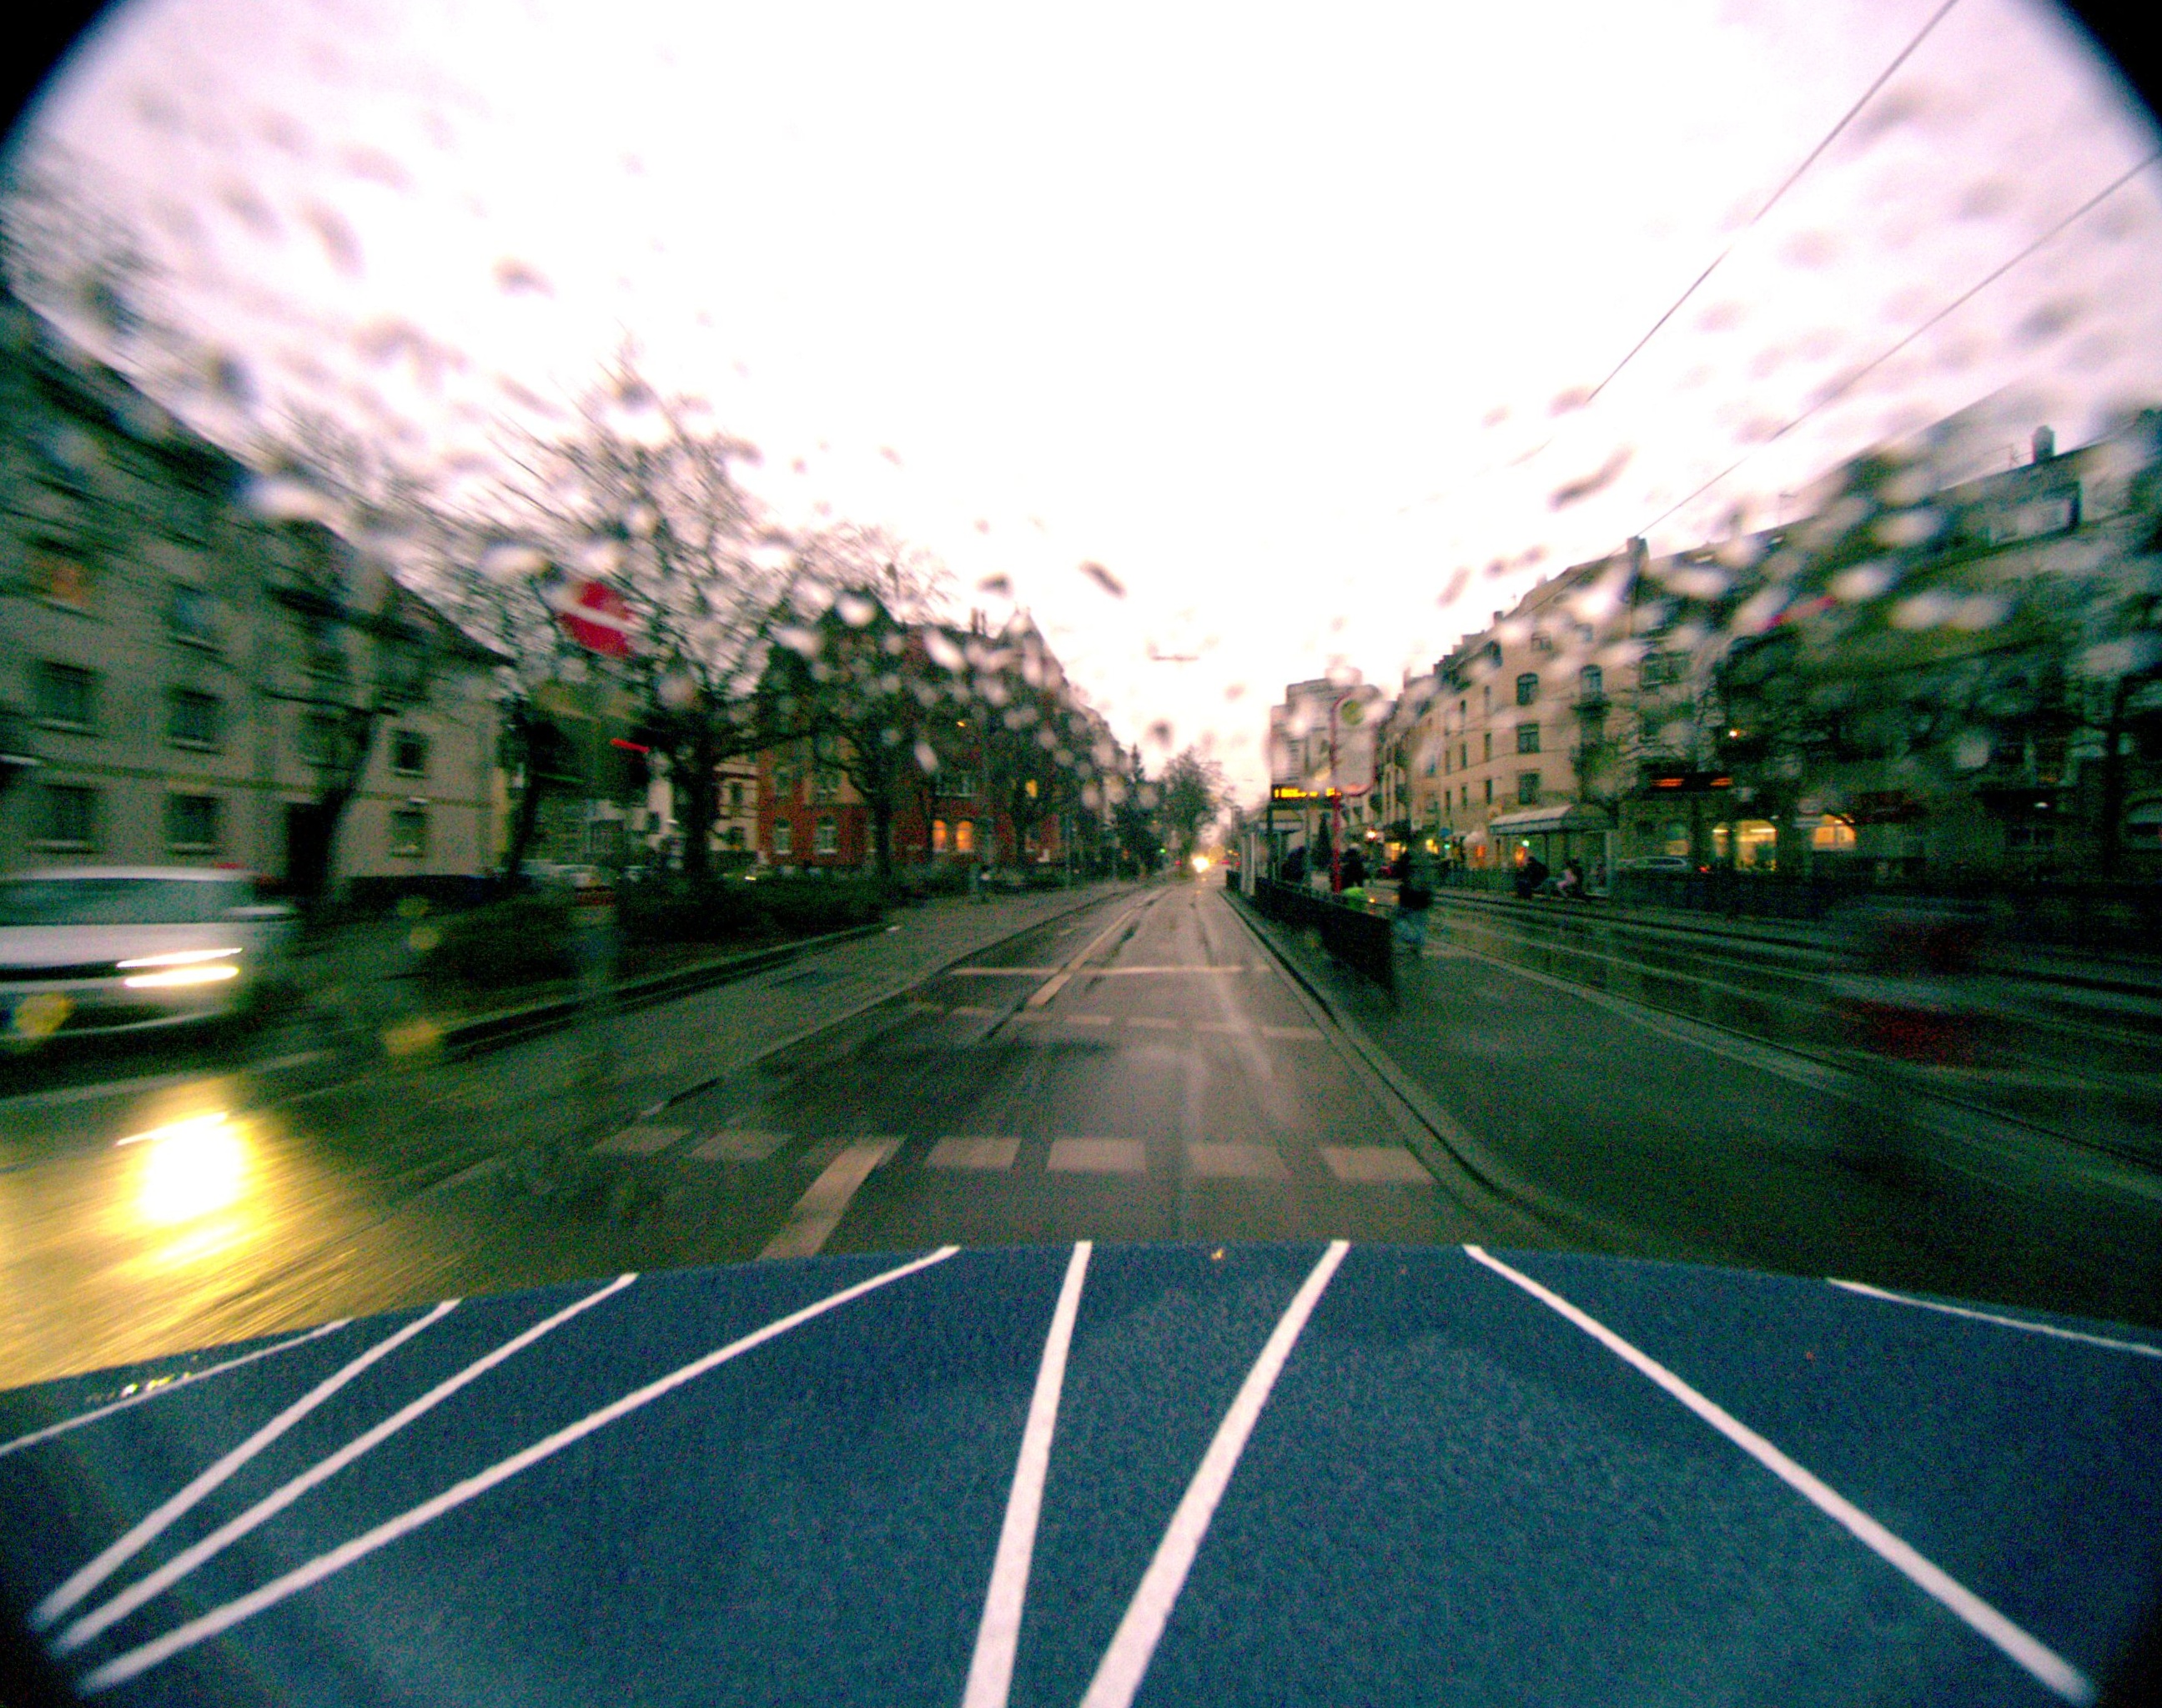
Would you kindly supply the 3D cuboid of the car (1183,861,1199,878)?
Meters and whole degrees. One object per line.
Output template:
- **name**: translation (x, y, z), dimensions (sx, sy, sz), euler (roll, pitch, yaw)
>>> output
- **car**: translation (13.594, 1.871, 94.016), dimensions (1.725, 1.933, 4.512), euler (-3, -1, 7)

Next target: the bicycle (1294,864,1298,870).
- **bicycle**: translation (32.205, 1.934, 113.808), dimensions (0.434, 1.001, 1.606), euler (-1, 0, 10)

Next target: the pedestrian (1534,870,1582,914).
- **pedestrian**: translation (14.420, 1.142, 22.995), dimensions (1.058, 1.247, 0.507), euler (-3, 0, 8)

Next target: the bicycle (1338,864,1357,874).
- **bicycle**: translation (31.685, 1.758, 90.269), dimensions (1.988, 1.152, 0.531), euler (-3, 0, 8)

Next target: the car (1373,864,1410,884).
- **car**: translation (25.822, 1.645, 63.280), dimensions (1.676, 1.507, 3.680), euler (-3, -1, 2)

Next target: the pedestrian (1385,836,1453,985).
- **pedestrian**: translation (4.501, 0.734, 10.161), dimensions (0.687, 1.906, 0.719), euler (-3, 0, 20)

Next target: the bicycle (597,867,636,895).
- **bicycle**: translation (-21.957, 1.246, 35.975), dimensions (0.467, 1.283, 1.915), euler (0, 0, 9)

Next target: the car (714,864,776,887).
- **car**: translation (-22.305, 1.410, 50.470), dimensions (3.989, 1.487, 1.651), euler (0, -1, 28)

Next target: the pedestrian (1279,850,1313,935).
- **pedestrian**: translation (4.714, 0.838, 16.687), dimensions (0.558, 1.797, 0.571), euler (-3, 0, 9)

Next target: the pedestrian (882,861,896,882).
- **pedestrian**: translation (-12.072, 1.085, 47.789), dimensions (0.545, 1.308, 0.610), euler (-2, -1, 28)

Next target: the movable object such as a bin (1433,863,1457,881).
- **movable object such as a bin**: translation (29.891, 1.485, 62.391), dimensions (1.352, 1.364, 1.282), euler (-3, -1, 7)

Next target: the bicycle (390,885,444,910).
- **bicycle**: translation (-22.713, 1.485, 26.031), dimensions (0.339, 0.761, 1.590), euler (0, 0, 6)

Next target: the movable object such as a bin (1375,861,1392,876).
- **movable object such as a bin**: translation (29.711, 1.403, 74.689), dimensions (1.239, 1.423, 1.075), euler (-3, -1, 7)

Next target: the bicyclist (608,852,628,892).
- **bicyclist**: translation (-21.950, 0.844, 36.037), dimensions (0.467, 1.875, 0.680), euler (0, 0, 8)

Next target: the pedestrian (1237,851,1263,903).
- **pedestrian**: translation (6.445, 0.878, 28.964), dimensions (0.855, 1.944, 0.571), euler (-3, 0, 9)

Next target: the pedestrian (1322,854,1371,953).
- **pedestrian**: translation (4.723, 0.868, 13.538), dimensions (0.658, 1.698, 0.571), euler (-3, 0, 9)

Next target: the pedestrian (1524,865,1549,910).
- **pedestrian**: translation (14.463, 1.072, 24.126), dimensions (0.474, 1.395, 0.454), euler (-3, 0, 8)

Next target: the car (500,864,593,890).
- **car**: translation (-30.597, 1.281, 43.575), dimensions (1.845, 1.467, 4.009), euler (0, -1, 37)

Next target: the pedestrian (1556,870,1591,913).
- **pedestrian**: translation (14.475, 1.091, 22.344), dimensions (0.653, 1.211, 0.517), euler (-3, 0, 8)

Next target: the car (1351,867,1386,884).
- **car**: translation (26.028, 1.886, 68.917), dimensions (1.806, 1.382, 4.511), euler (-3, -1, 5)

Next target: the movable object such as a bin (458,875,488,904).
- **movable object such as a bin**: translation (-21.105, 1.218, 26.388), dimensions (0.528, 0.975, 0.651), euler (0, 0, -4)

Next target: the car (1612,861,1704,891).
- **car**: translation (31.676, 1.241, 41.771), dimensions (3.816, 1.463, 1.617), euler (-4, -1, 44)

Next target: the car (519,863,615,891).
- **car**: translation (-28.412, 1.219, 42.088), dimensions (1.845, 1.477, 4.009), euler (0, -1, 37)

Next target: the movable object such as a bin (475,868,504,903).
- **movable object such as a bin**: translation (-21.100, 1.112, 27.100), dimensions (0.528, 1.221, 0.651), euler (0, 0, -4)

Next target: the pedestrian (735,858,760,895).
- **pedestrian**: translation (-17.051, 1.126, 38.848), dimensions (0.876, 1.853, 0.816), euler (0, 0, 36)

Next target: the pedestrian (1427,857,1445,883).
- **pedestrian**: translation (26.016, 1.185, 55.676), dimensions (0.796, 1.867, 0.896), euler (-3, -1, 44)

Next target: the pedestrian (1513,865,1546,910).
- **pedestrian**: translation (14.556, 1.074, 24.658), dimensions (0.685, 1.395, 0.579), euler (-3, 0, 8)

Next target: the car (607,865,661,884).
- **car**: translation (-33.508, 1.505, 56.936), dimensions (3.989, 1.389, 1.651), euler (0, -1, 28)

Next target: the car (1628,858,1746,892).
- **car**: translation (30.073, 1.024, 37.825), dimensions (1.941, 1.574, 4.331), euler (0, 0, -42)

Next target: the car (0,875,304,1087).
- **car**: translation (-9.756, 1.039, 7.798), dimensions (1.903, 1.501, 4.740), euler (1, 0, -38)
